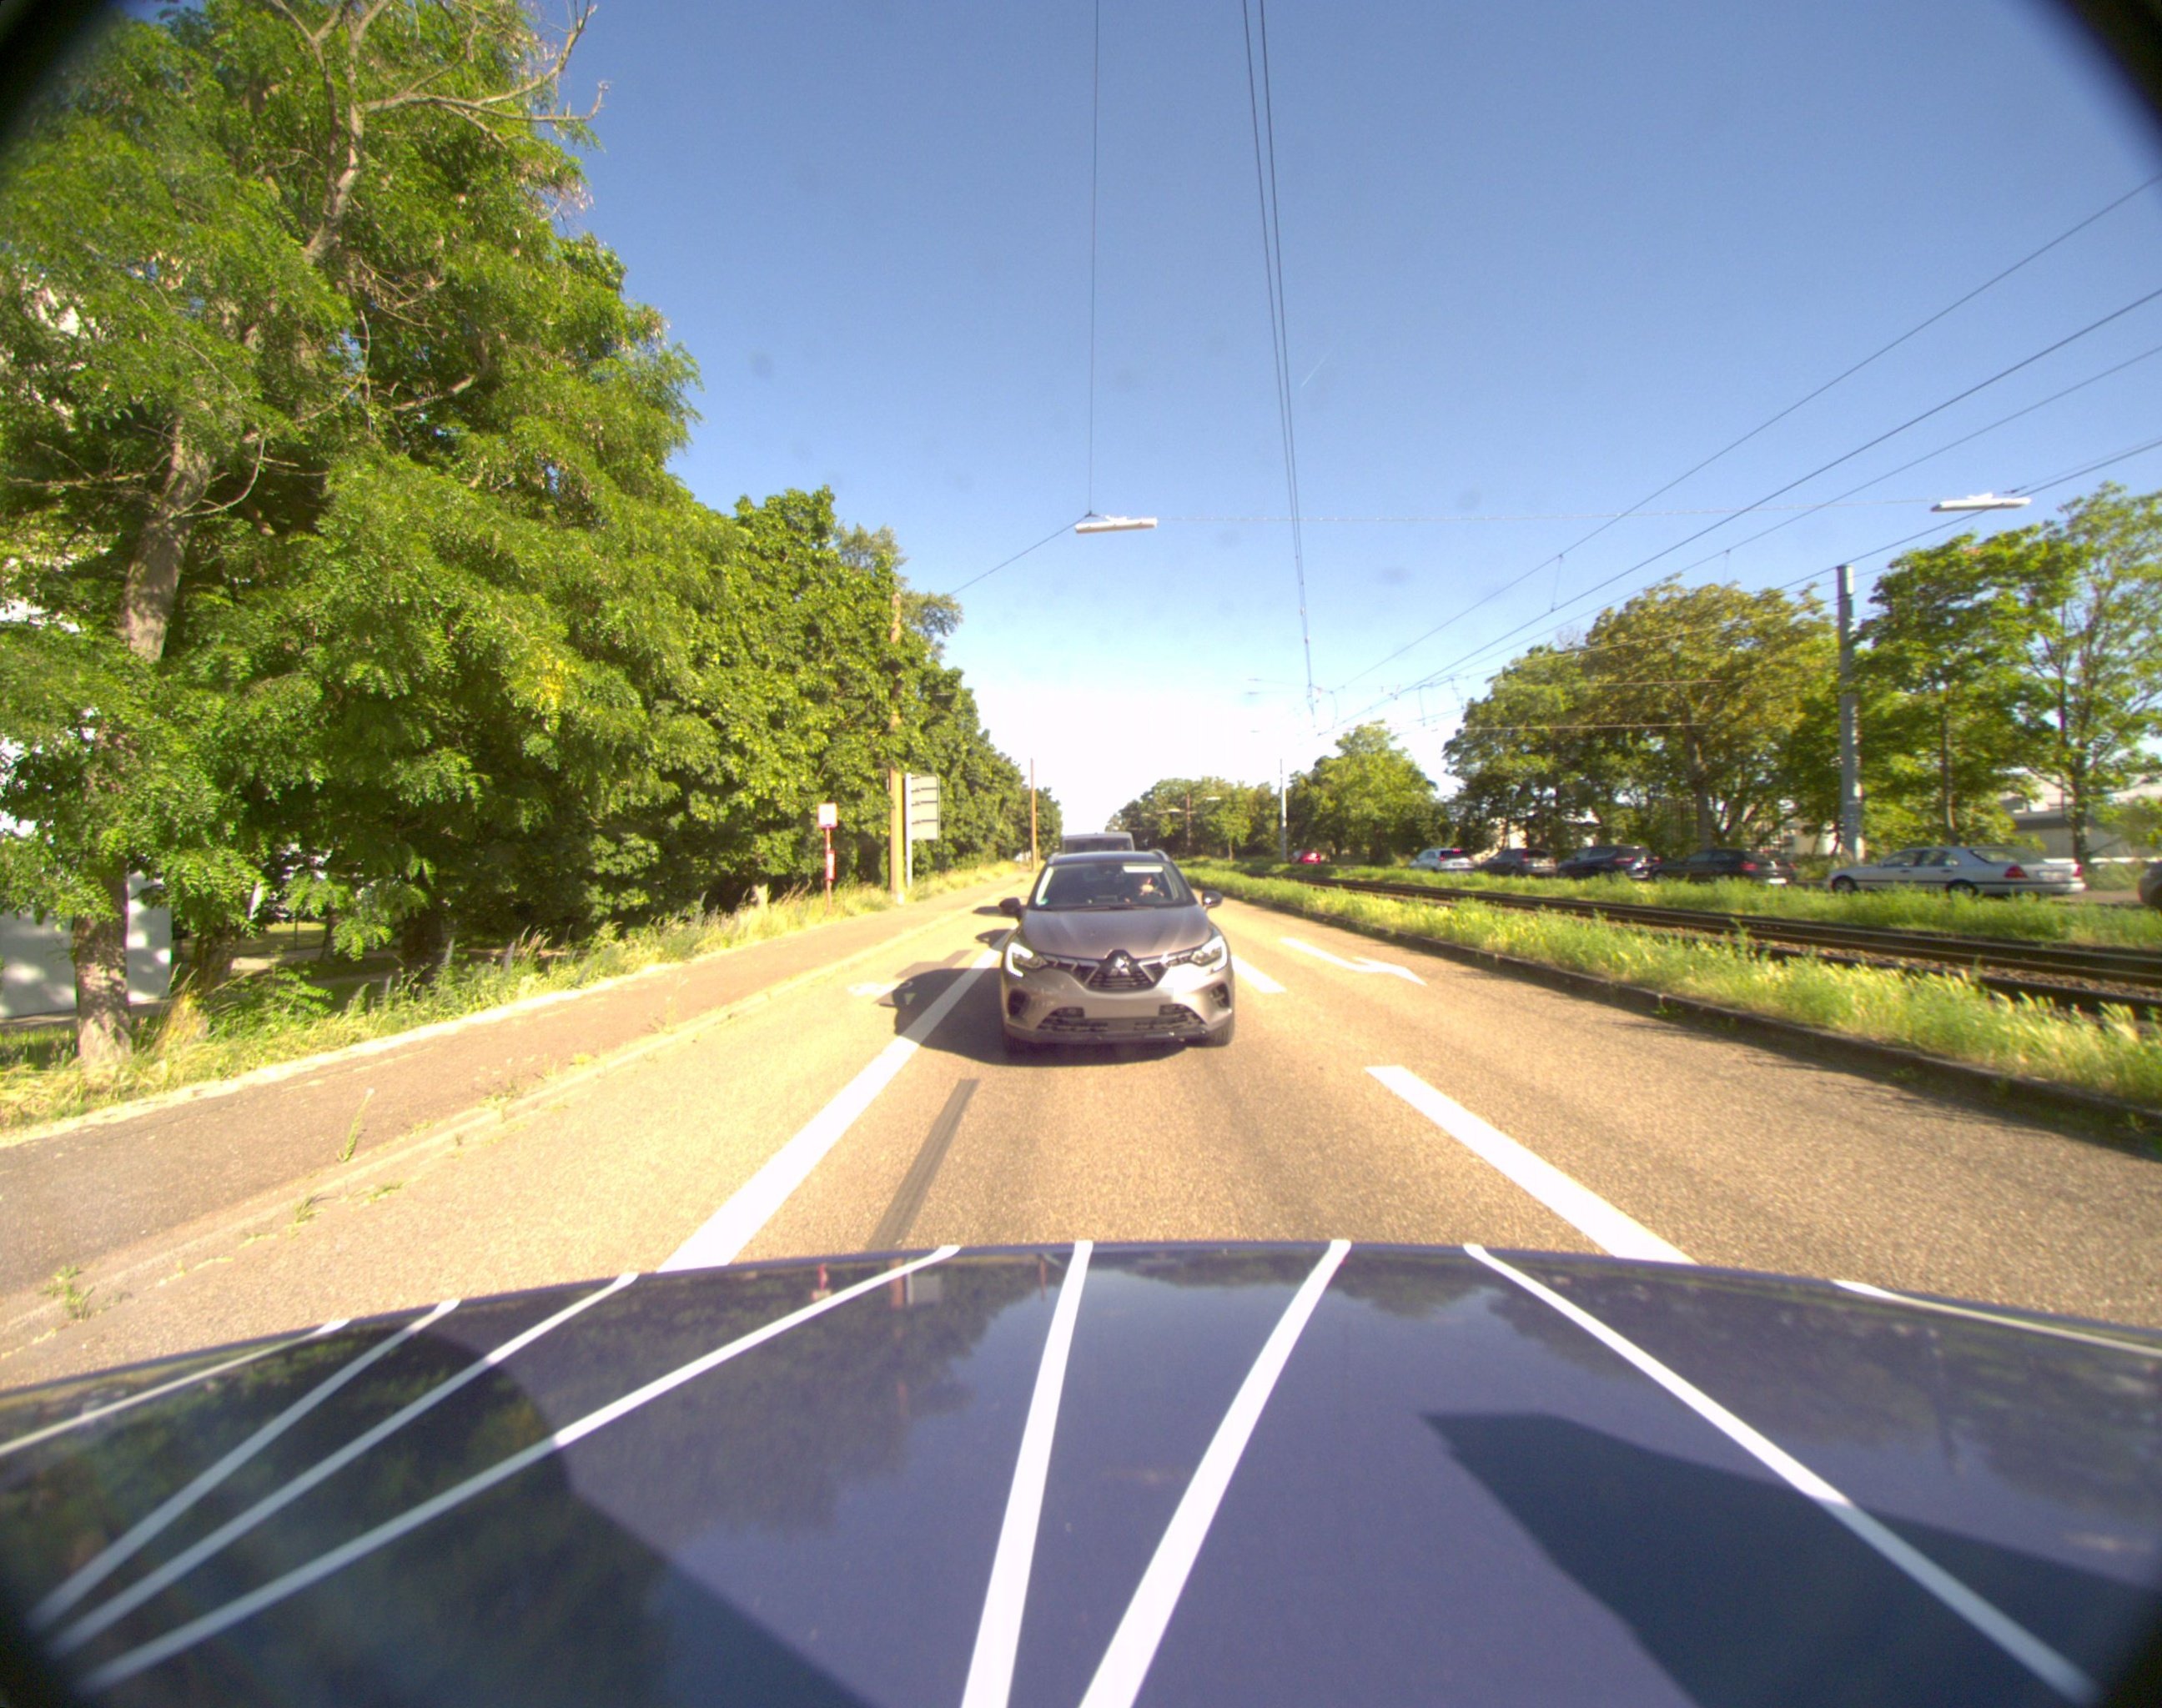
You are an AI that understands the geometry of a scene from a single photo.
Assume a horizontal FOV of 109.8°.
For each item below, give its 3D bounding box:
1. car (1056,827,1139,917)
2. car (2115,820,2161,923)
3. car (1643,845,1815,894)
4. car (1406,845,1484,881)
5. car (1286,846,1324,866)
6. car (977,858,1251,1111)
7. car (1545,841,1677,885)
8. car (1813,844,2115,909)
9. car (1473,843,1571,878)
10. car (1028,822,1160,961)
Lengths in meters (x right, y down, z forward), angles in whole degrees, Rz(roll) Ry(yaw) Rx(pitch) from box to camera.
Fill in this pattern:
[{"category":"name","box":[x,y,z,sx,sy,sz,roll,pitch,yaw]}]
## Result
[{"category":"car","box":[0.356,0.474,21.110,1.999,2.198,4.786,-1,-1,-1]},{"category":"car","box":[21.238,0.287,12.469,2.207,1.923,4.685,-2,0,2]},{"category":"car","box":[21.346,0.485,25.323,1.960,1.417,4.488,-2,0,1]},{"category":"car","box":[16.810,0.399,35.296,1.859,1.548,4.158,-2,0,4]},{"category":"car","box":[21.004,0.178,71.461,2.321,1.723,4.798,-2,0,3]},{"category":"car","box":[0.181,0.880,7.313,1.796,1.583,4.529,-1,0,-1]},{"category":"car","box":[21.308,0.338,30.819,2.130,1.578,4.616,-2,0,1]},{"category":"car","box":[21.546,0.501,18.929,2.130,1.372,4.616,-2,0,-1]},{"category":"car","box":[21.567,0.322,37.402,2.130,1.554,4.560,-2,0,0]},{"category":"car","box":[0.226,0.588,13.827,1.998,2.113,4.000,-2,0,1]}]
